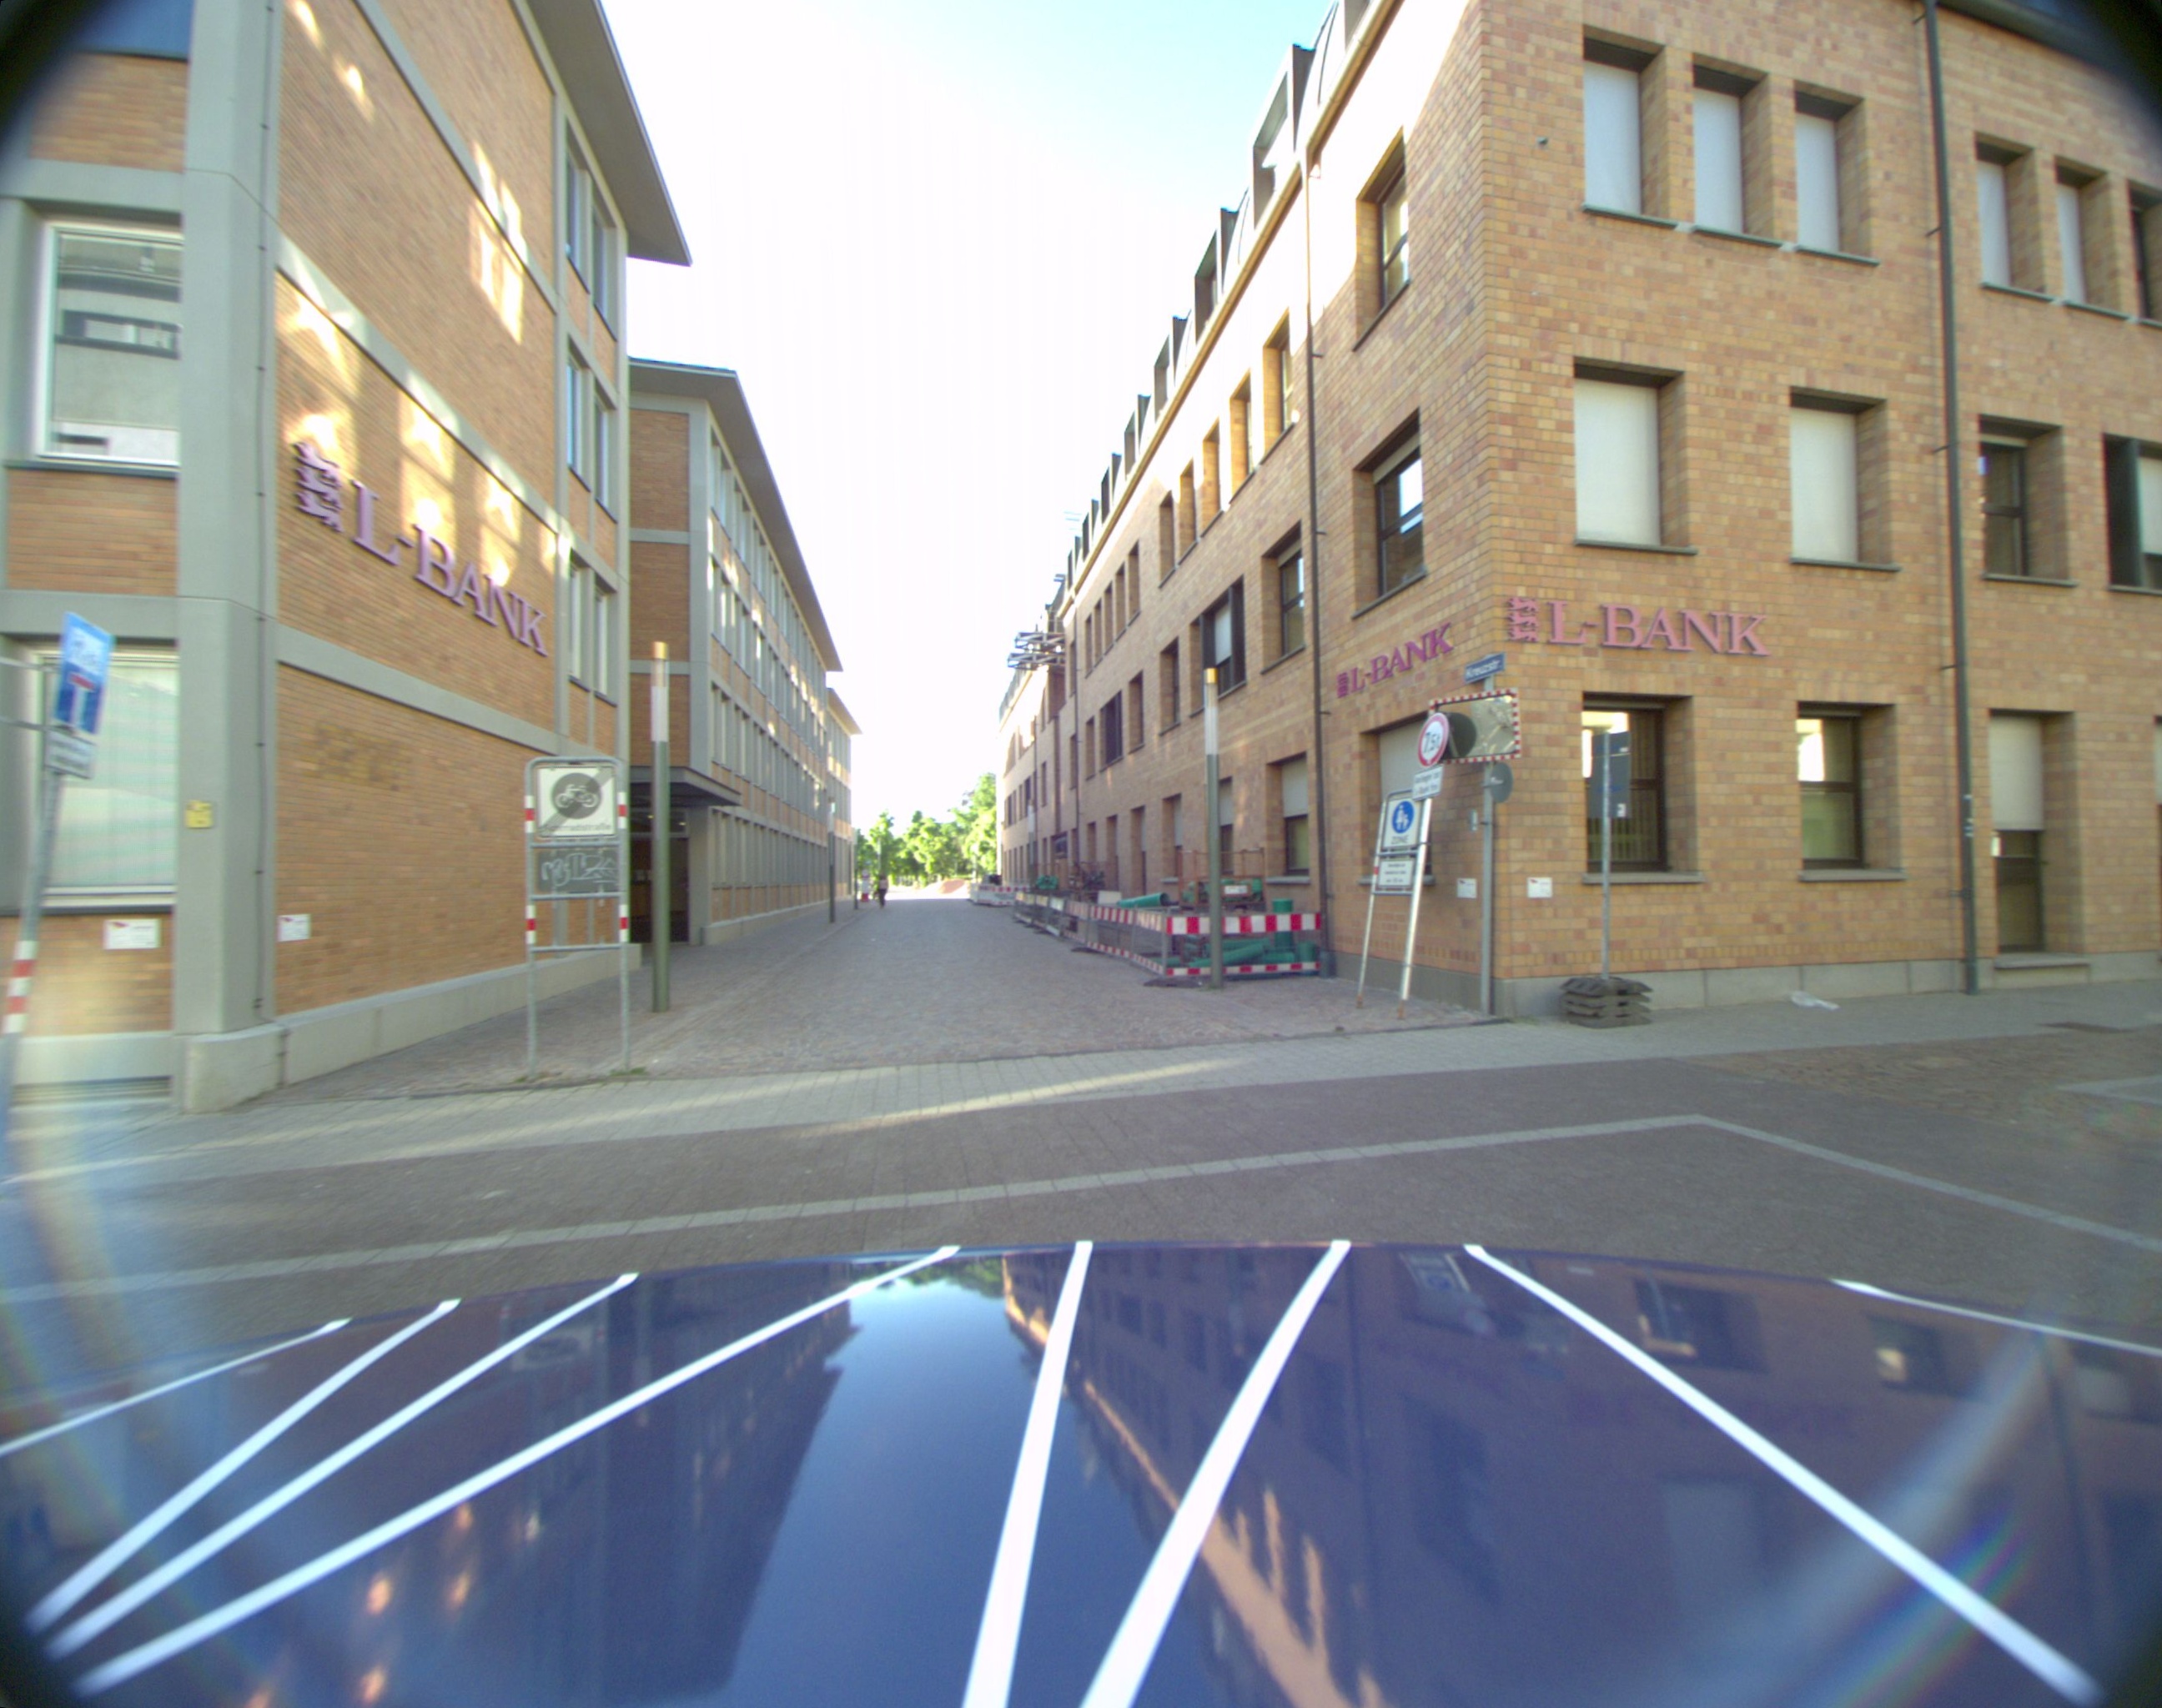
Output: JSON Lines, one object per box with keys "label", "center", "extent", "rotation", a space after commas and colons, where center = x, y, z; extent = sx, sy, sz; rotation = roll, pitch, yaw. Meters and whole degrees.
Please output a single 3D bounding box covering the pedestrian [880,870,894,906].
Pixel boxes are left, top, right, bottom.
{"label": "pedestrian", "center": [-9.750, 1.706, 38.185], "extent": [0.639, 1.774, 0.652], "rotation": [0, -3, -12]}
